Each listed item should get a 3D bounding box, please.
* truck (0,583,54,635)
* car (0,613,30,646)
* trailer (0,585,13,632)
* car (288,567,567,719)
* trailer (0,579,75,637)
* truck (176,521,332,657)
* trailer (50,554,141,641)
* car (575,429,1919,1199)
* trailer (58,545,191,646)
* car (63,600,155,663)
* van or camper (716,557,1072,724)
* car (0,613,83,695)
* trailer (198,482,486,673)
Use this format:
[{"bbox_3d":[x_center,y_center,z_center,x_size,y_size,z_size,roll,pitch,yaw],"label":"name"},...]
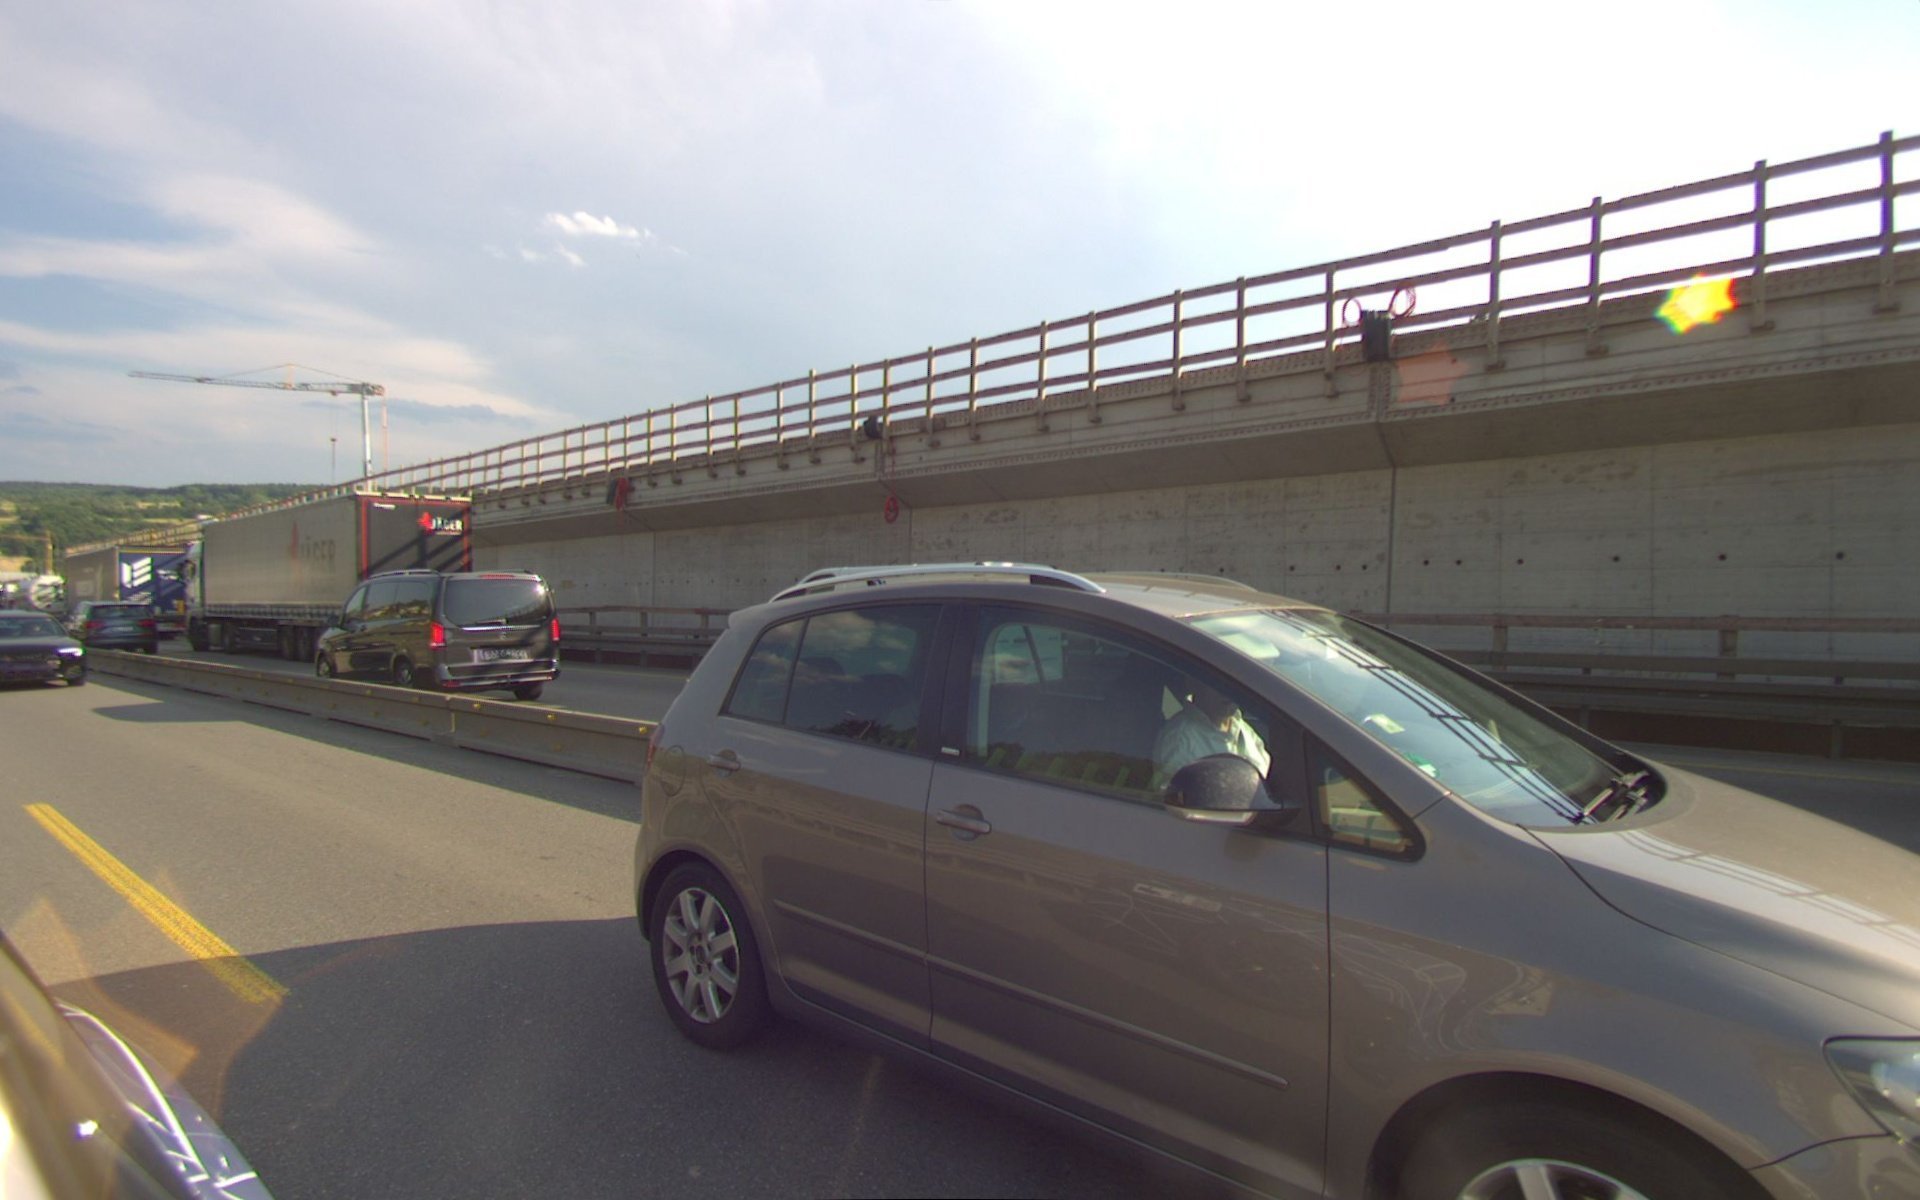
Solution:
[{"bbox_3d":[-65.421,0.568,70.644,5.529,3.435,2.522,0,1,41],"label":"truck"},{"bbox_3d":[-46.587,1.433,49.127,4.594,1.470,1.624,0,1,41],"label":"car"},{"bbox_3d":[-89.694,0.765,92.844,15.759,4.061,2.742,0,1,42],"label":"trailer"},{"bbox_3d":[-8.261,0.557,15.443,5.288,1.937,1.965,-1,1,41],"label":"car"},{"bbox_3d":[-60.616,0.477,66.387,10.679,3.553,2.530,0,1,42],"label":"trailer"},{"bbox_3d":[-23.024,-0.356,32.934,5.655,4.038,2.831,0,1,41],"label":"truck"},{"bbox_3d":[-44.457,-0.096,52.002,5.974,4.172,2.735,-2,0,42],"label":"trailer"},{"bbox_3d":[0.735,0.630,2.940,4.270,1.600,1.663,-2,-3,41],"label":"car"},{"bbox_3d":[-39.472,-0.079,47.519,14.021,4.172,2.735,-2,0,42],"label":"trailer"},{"bbox_3d":[-27.138,0.930,32.203,1.801,1.785,5.143,-2,1,-45],"label":"car"},{"bbox_3d":[-1.050,0.482,14.053,4.916,1.937,1.899,-1,0,38],"label":"van or camper"},{"bbox_3d":[-18.713,0.996,19.767,4.347,1.430,1.848,0,0,42],"label":"car"},{"bbox_3d":[-17.756,-0.545,28.265,13.763,4.271,2.883,0,1,41],"label":"trailer"}]
